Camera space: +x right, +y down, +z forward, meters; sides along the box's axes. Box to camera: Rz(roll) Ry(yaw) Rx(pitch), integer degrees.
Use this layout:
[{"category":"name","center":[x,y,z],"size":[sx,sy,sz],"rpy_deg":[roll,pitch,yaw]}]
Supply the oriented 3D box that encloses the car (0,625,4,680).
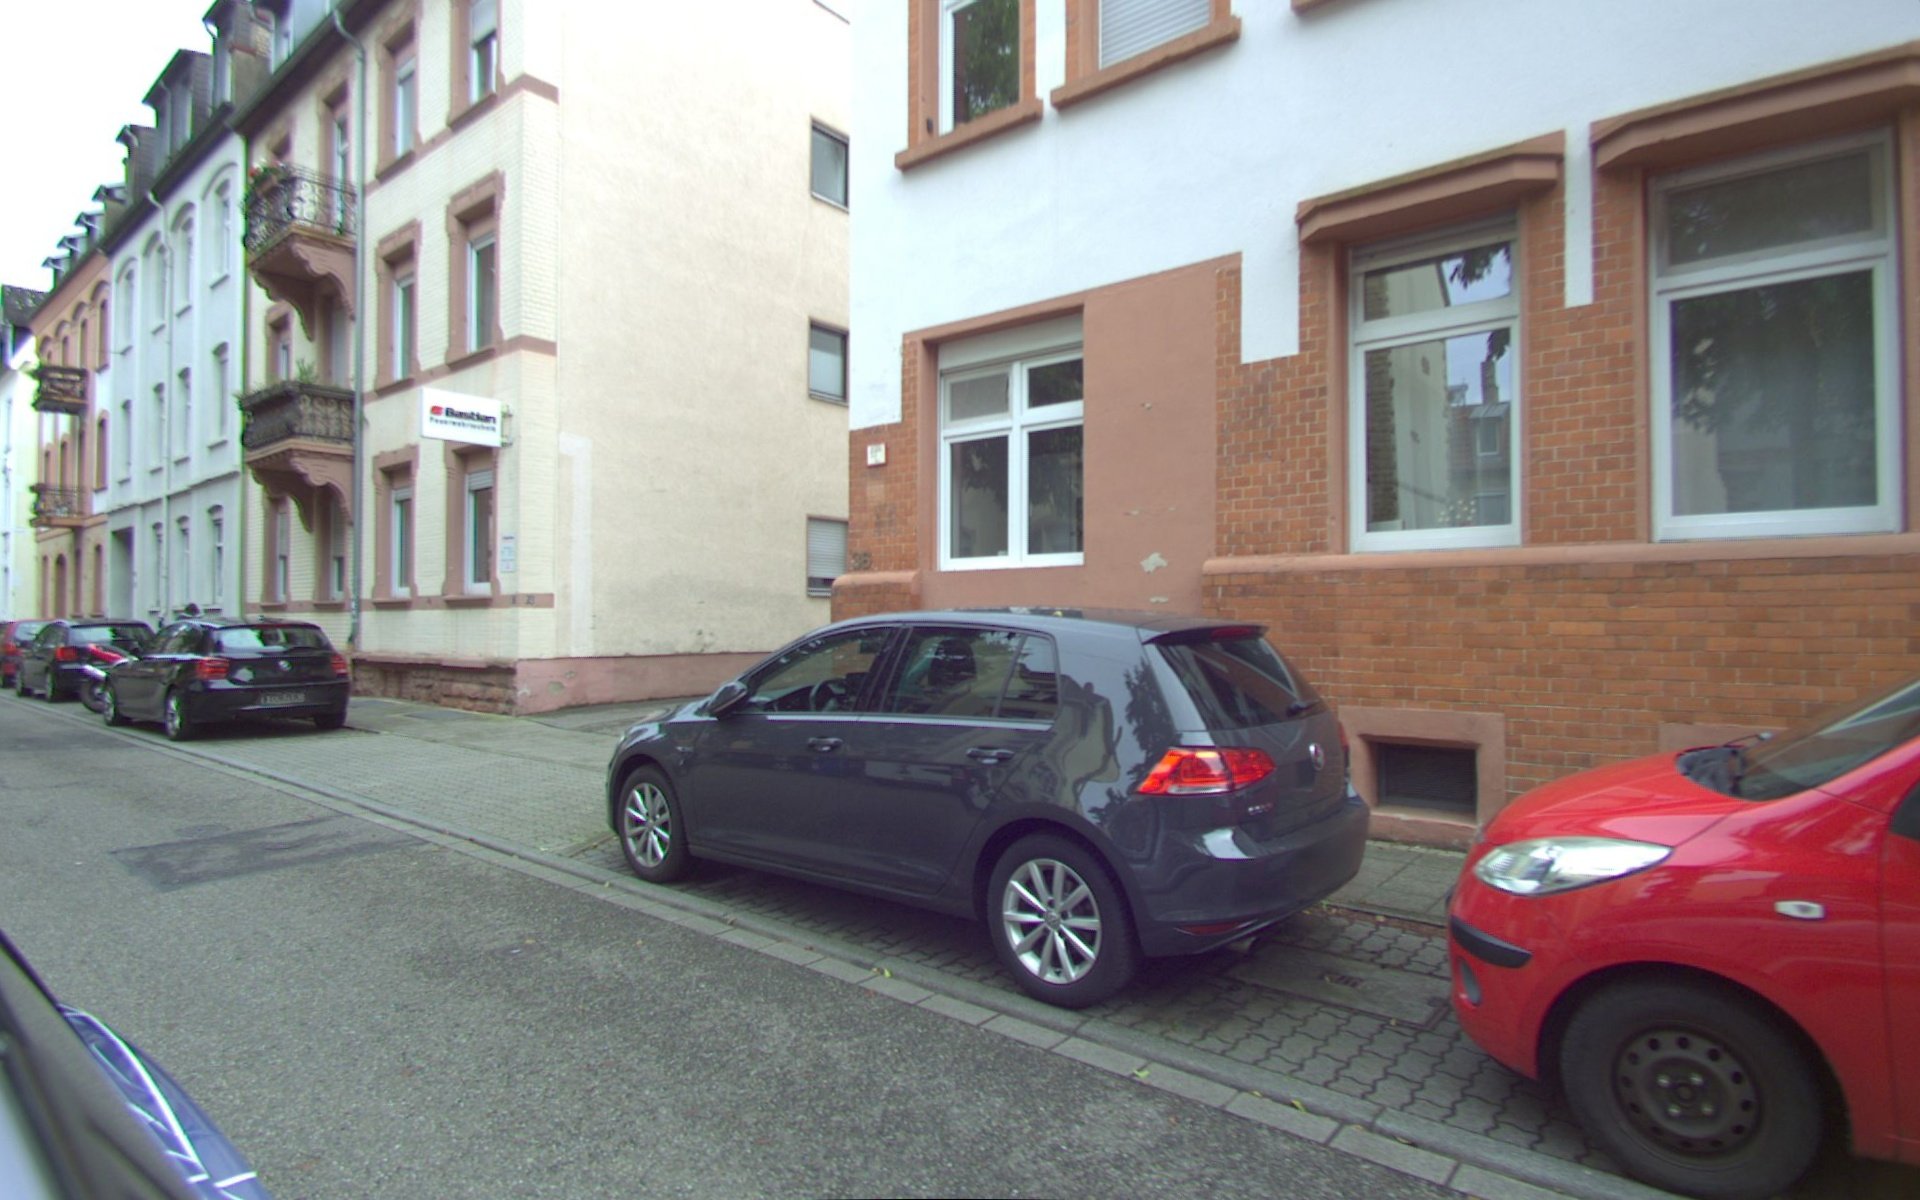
[{"category":"car","center":[-26.956,1.400,27.328],"size":[3.041,1.420,1.438],"rpy_deg":[0,1,42]}]

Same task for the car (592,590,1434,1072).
[{"category":"car","center":[-0.041,0.727,4.831],"size":[3.914,1.427,1.450],"rpy_deg":[-2,-1,40]}]

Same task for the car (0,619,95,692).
[{"category":"car","center":[-20.414,1.171,22.207],"size":[3.339,1.483,1.590],"rpy_deg":[-1,-2,39]}]

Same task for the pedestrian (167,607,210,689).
[{"category":"pedestrian","center":[-15.533,0.958,20.374],"size":[0.543,1.621,0.570],"rpy_deg":[-2,-2,39]}]

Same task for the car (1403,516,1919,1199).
[{"category":"car","center":[3.060,0.570,2.195],"size":[3.565,1.542,1.450],"rpy_deg":[-2,-1,40]}]

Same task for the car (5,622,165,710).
[{"category":"car","center":[-15.746,1.110,18.168],"size":[3.469,1.393,1.639],"rpy_deg":[-1,0,40]}]

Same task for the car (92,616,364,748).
[{"category":"car","center":[-9.347,0.926,12.826],"size":[3.997,1.401,1.881],"rpy_deg":[-2,-1,40]}]

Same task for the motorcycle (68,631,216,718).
[{"category":"motorcycle","center":[-12.284,1.097,15.263],"size":[1.685,1.235,0.487],"rpy_deg":[0,-1,-32]}]
